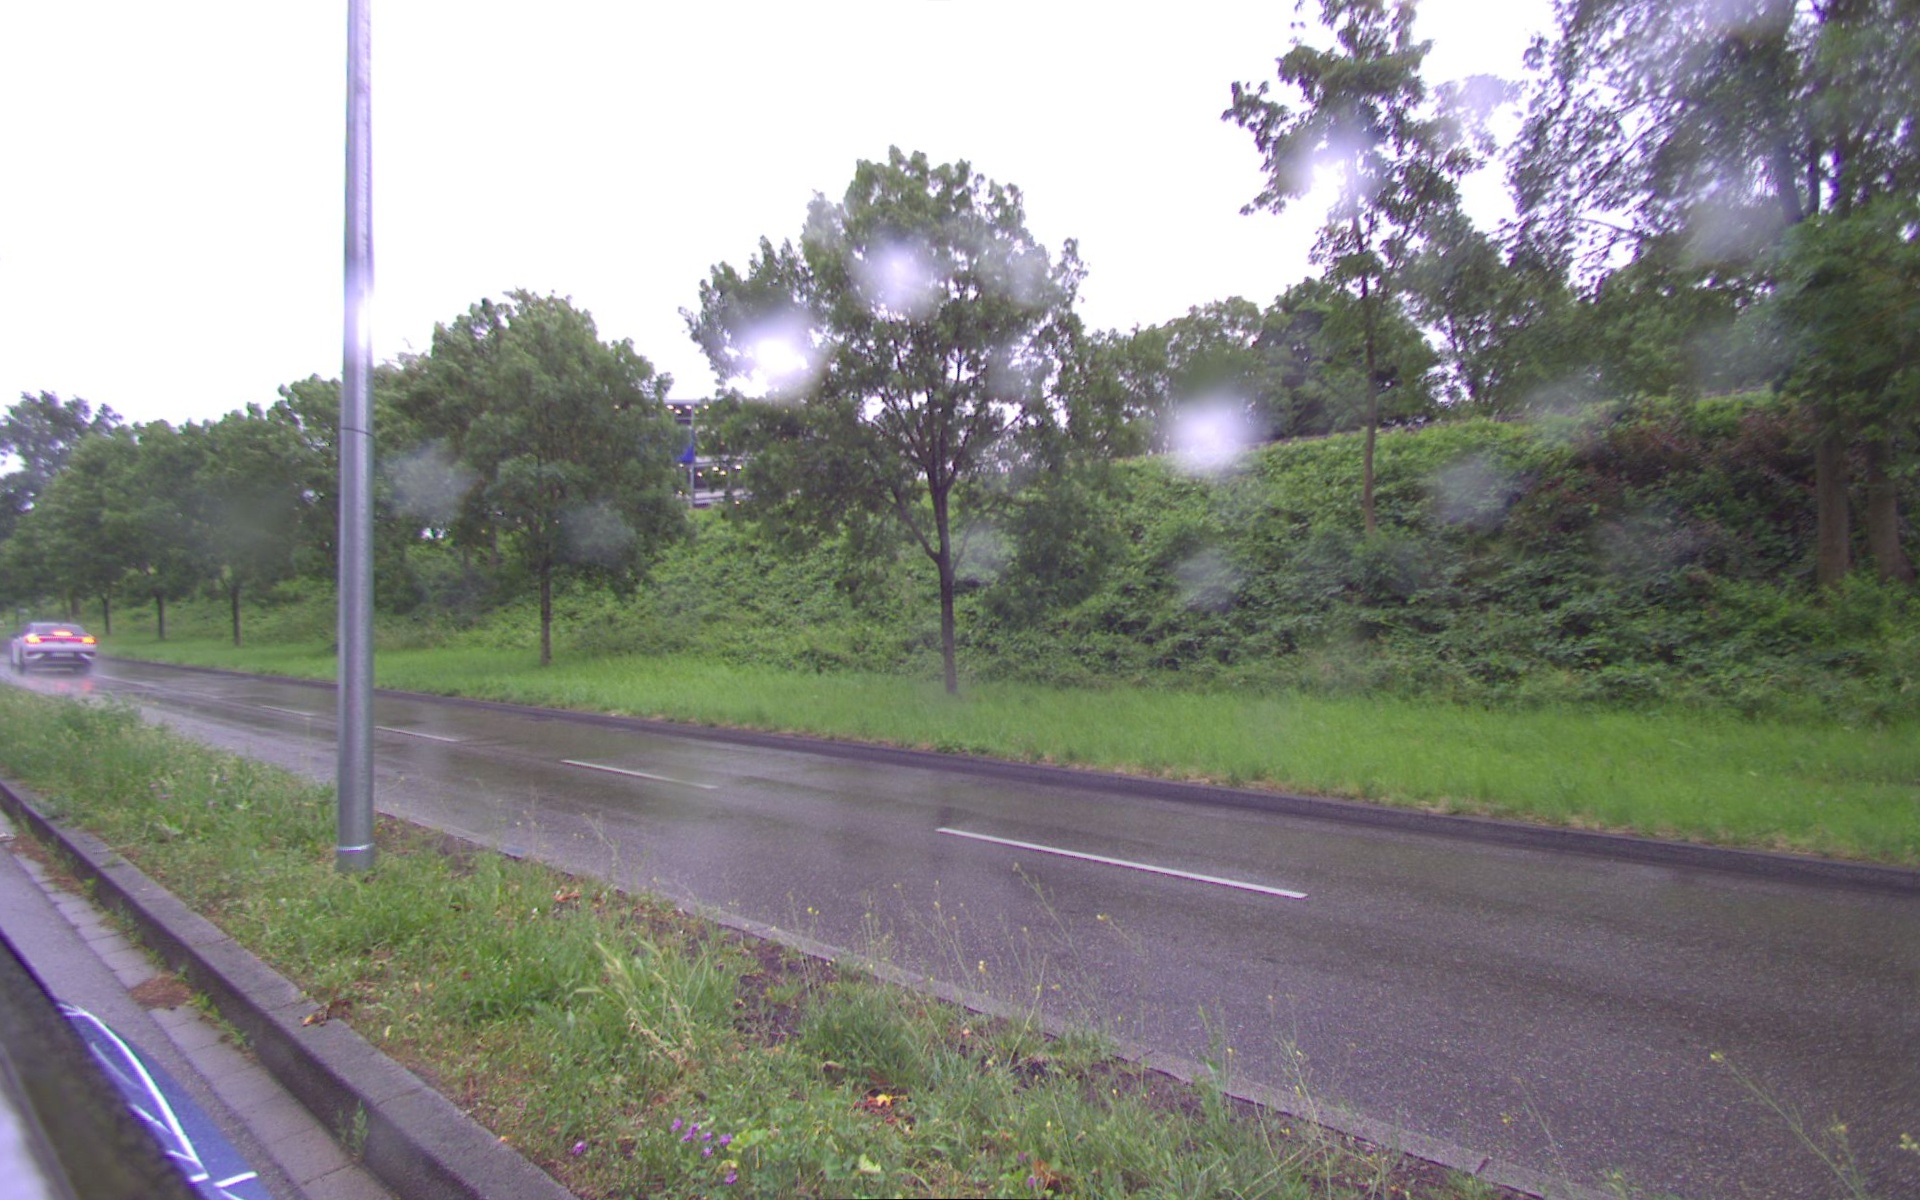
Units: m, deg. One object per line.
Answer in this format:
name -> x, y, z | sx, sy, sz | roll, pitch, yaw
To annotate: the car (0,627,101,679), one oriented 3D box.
car -> -28.765, 1.658, 31.912 | 4.299, 1.531, 1.867 | -2, -4, 41
